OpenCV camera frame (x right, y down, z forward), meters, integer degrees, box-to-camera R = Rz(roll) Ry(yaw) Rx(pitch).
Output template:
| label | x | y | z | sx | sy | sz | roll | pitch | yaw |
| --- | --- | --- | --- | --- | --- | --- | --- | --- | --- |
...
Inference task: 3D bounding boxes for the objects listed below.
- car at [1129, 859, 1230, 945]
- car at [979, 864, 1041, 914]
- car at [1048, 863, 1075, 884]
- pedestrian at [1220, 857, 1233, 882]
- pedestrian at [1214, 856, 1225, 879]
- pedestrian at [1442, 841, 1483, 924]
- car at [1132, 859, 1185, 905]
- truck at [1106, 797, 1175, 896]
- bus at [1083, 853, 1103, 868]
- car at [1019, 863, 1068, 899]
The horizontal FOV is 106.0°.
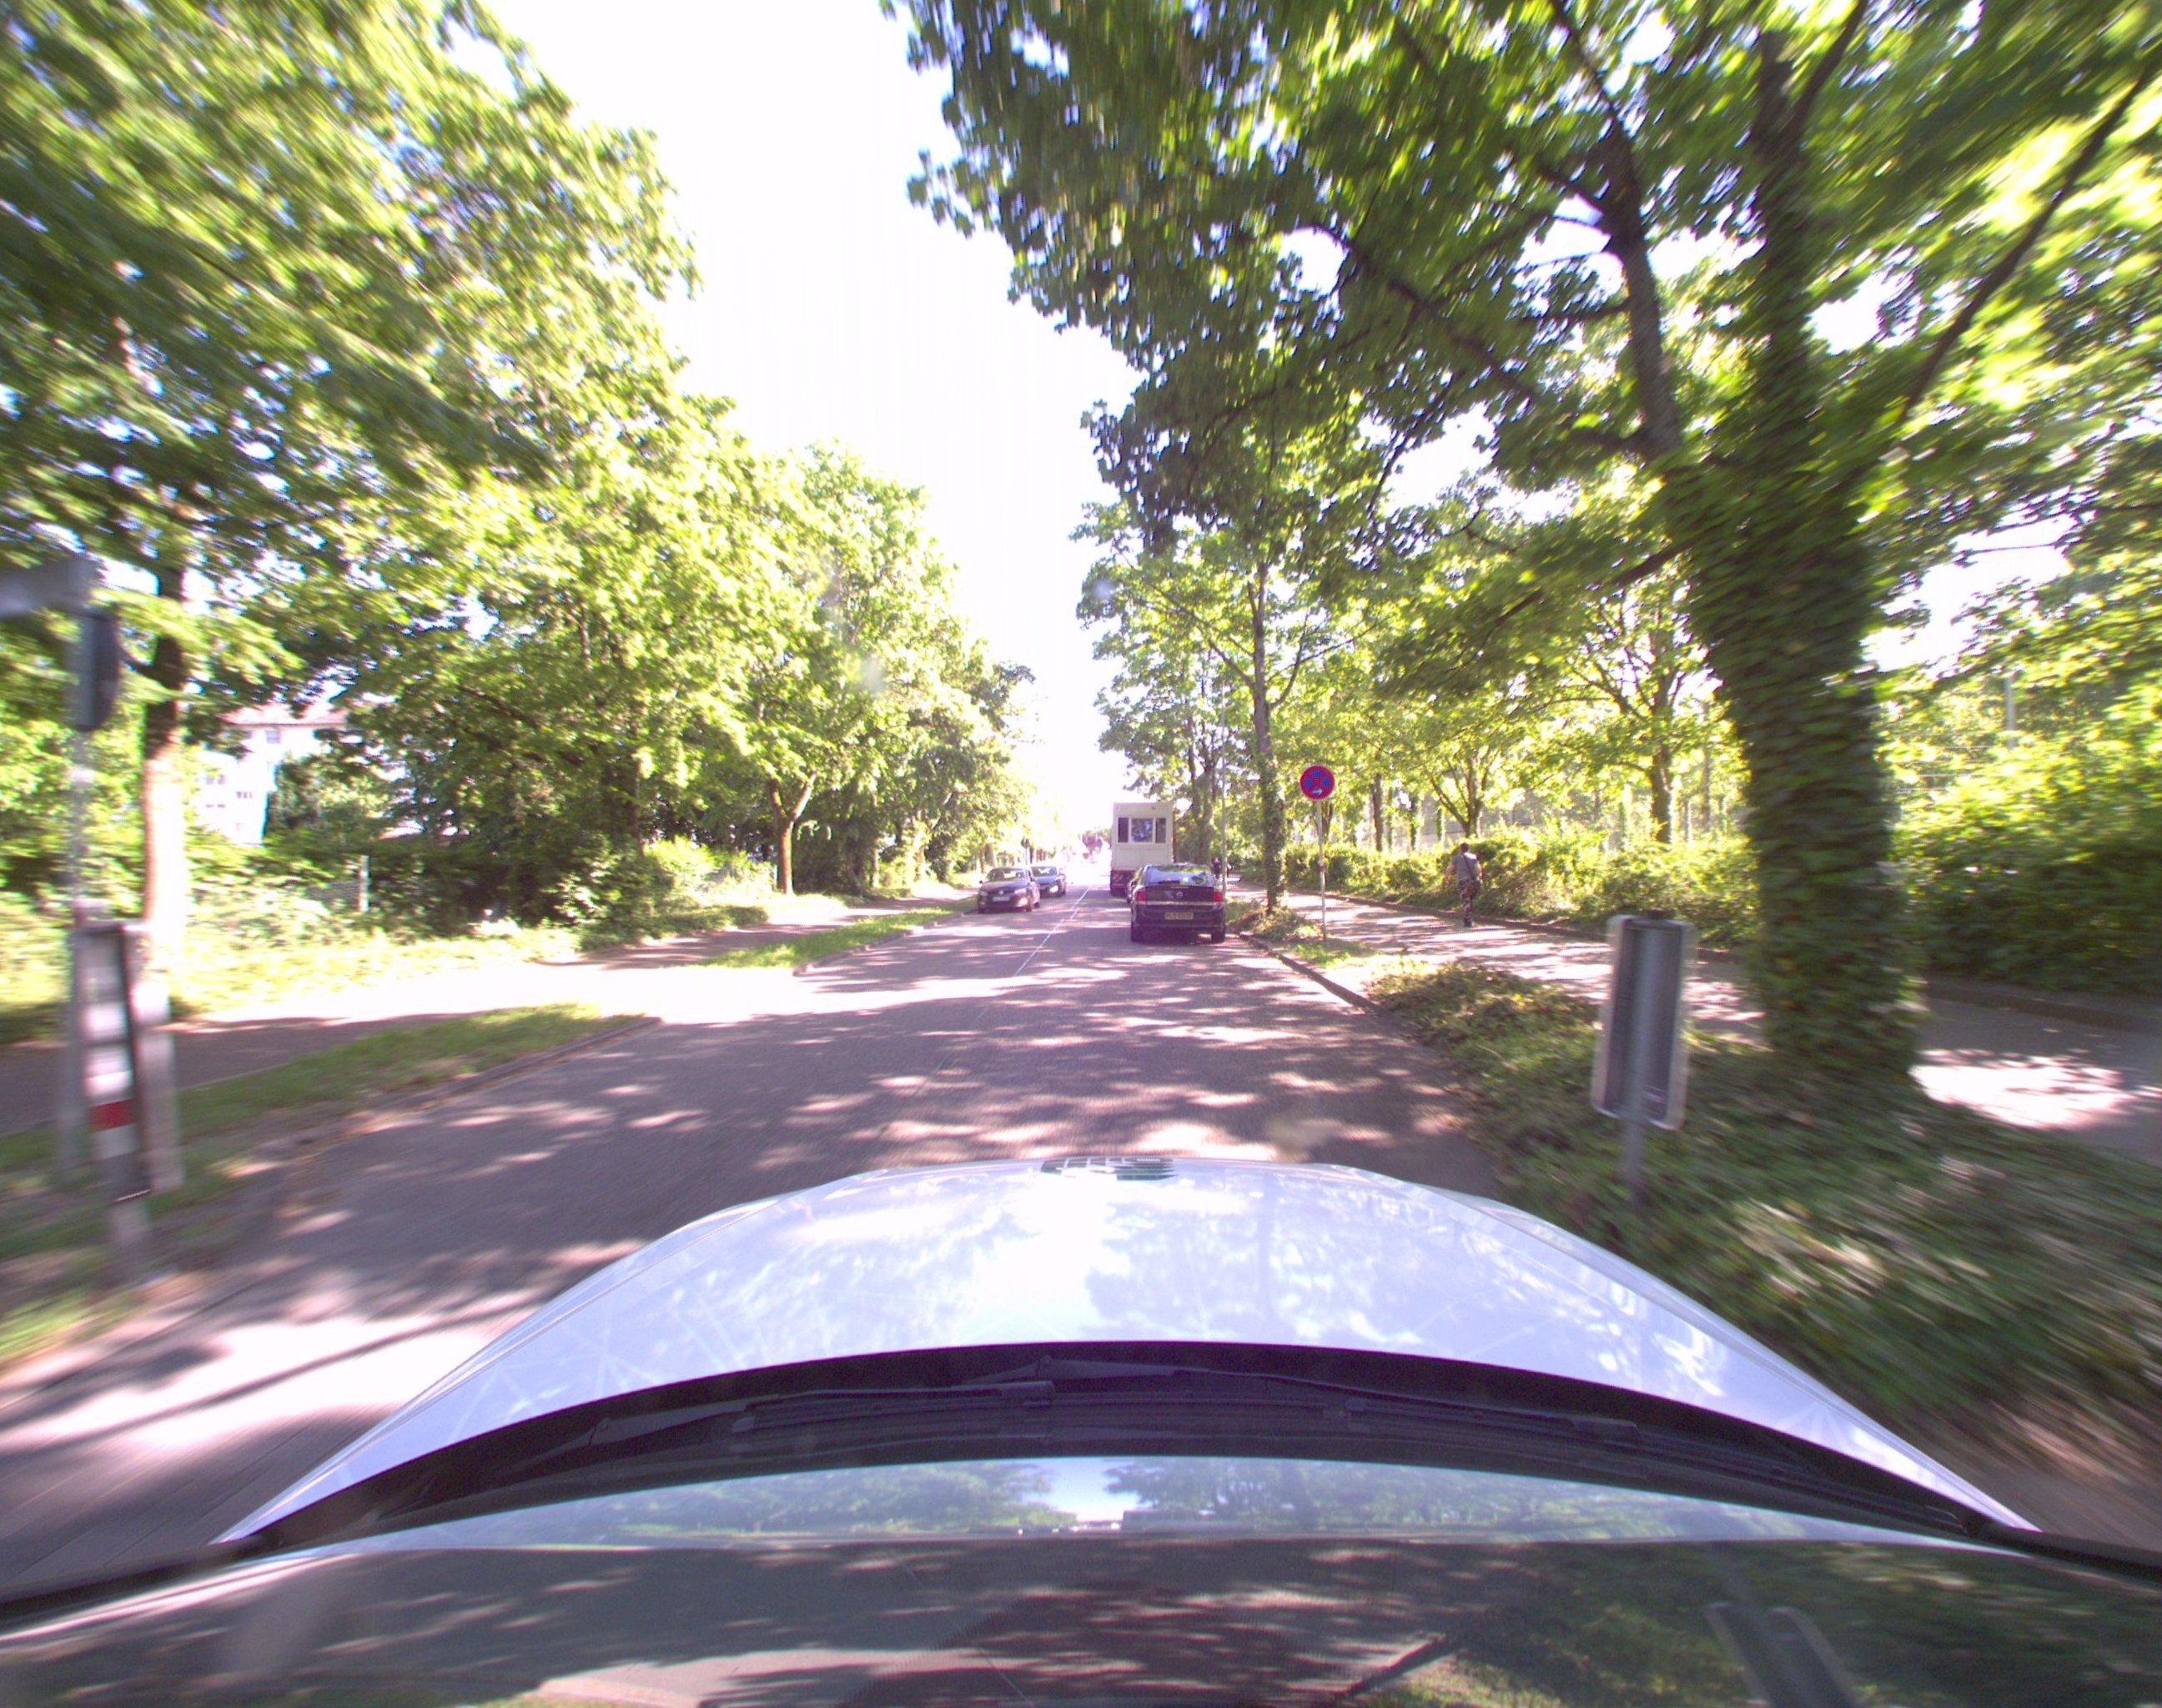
| label | x | y | z | sx | sy | sz | roll | pitch | yaw |
| --- | --- | --- | --- | --- | --- | --- | --- | --- | --- |
| car | 1.845 | 0.876 | 16.169 | 1.741 | 1.480 | 4.034 | 0 | -1 | 4 |
| car | -2.206 | 1.066 | 26.106 | 1.595 | 1.426 | 3.652 | -2 | 0 | 1 |
| car | -1.351 | 1.356 | 57.814 | 1.781 | 1.417 | 4.104 | -2 | 0 | 0 |
| pedestrian | 10.469 | 1.123 | 58.564 | 0.696 | 1.812 | 0.700 | -2 | -1 | -1 |
| pedestrian | 9.929 | 0.956 | 58.463 | 0.596 | 1.611 | 0.600 | -2 | -1 | -1 |
| pedestrian | 7.513 | 0.556 | 16.049 | 0.568 | 1.608 | 0.673 | 0 | -1 | 11 |
| car | 2.646 | 0.915 | 28.182 | 1.632 | 1.420 | 4.004 | -2 | -1 | 4 |
| truck | 2.574 | -0.261 | 38.339 | 2.763 | 3.996 | 10.351 | 1 | 0 | 2 |
| bus | 2.964 | 1.417 | 193.445 | 4.047 | 3.349 | 9.811 | -2 | 0 | 4 |
| car | -1.638 | 1.181 | 36.856 | 1.748 | 1.454 | 4.246 | -2 | 0 | 3 |
